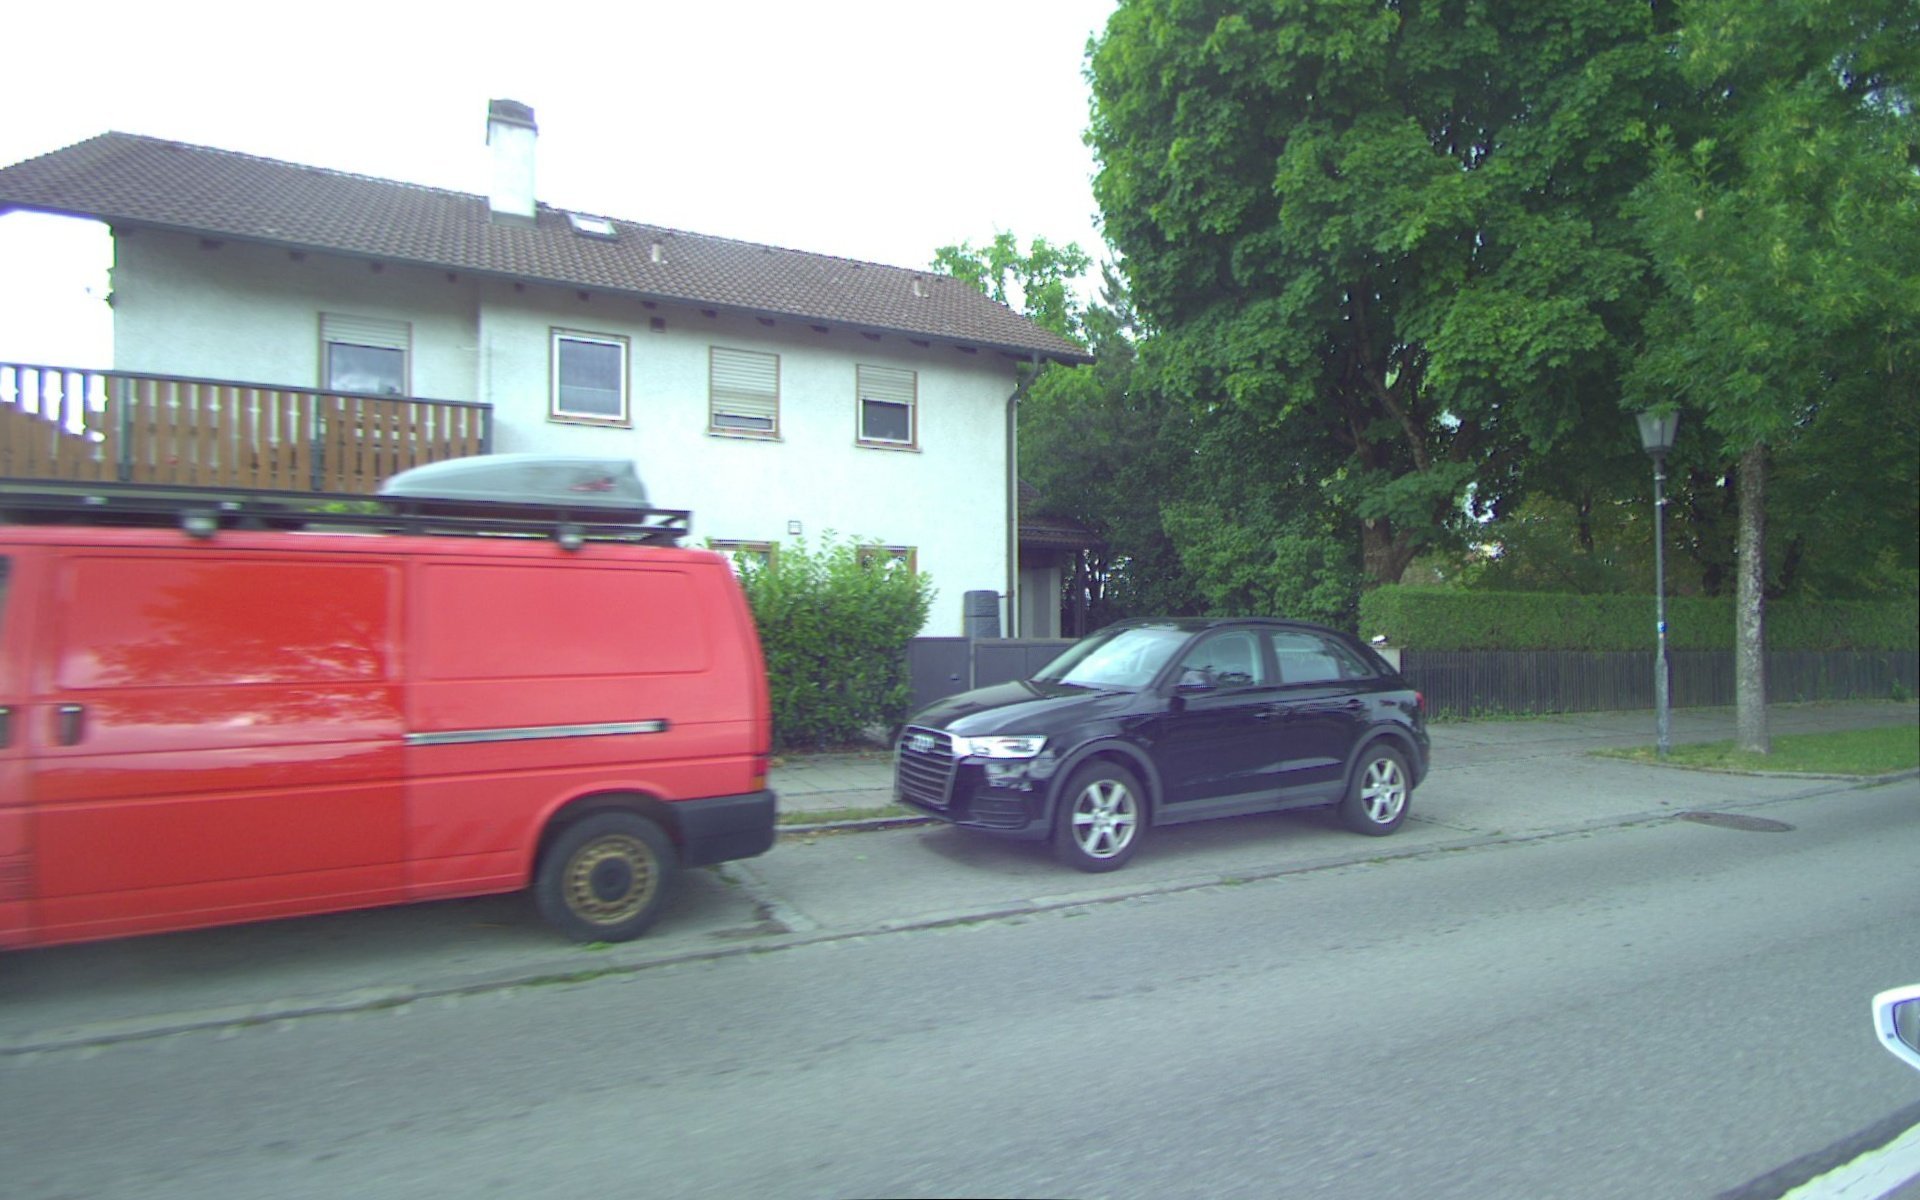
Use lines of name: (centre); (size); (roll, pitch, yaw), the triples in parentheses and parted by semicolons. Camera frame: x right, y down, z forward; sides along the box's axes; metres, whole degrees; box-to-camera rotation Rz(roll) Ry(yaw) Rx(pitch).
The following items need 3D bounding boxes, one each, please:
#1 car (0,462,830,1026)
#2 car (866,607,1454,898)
car: (-3.290, 0.551, 4.816); (4.982, 2.057, 1.823); (1, -1, -28)
car: (1.571, 0.889, 7.471); (4.188, 1.619, 1.763); (1, 0, -30)
